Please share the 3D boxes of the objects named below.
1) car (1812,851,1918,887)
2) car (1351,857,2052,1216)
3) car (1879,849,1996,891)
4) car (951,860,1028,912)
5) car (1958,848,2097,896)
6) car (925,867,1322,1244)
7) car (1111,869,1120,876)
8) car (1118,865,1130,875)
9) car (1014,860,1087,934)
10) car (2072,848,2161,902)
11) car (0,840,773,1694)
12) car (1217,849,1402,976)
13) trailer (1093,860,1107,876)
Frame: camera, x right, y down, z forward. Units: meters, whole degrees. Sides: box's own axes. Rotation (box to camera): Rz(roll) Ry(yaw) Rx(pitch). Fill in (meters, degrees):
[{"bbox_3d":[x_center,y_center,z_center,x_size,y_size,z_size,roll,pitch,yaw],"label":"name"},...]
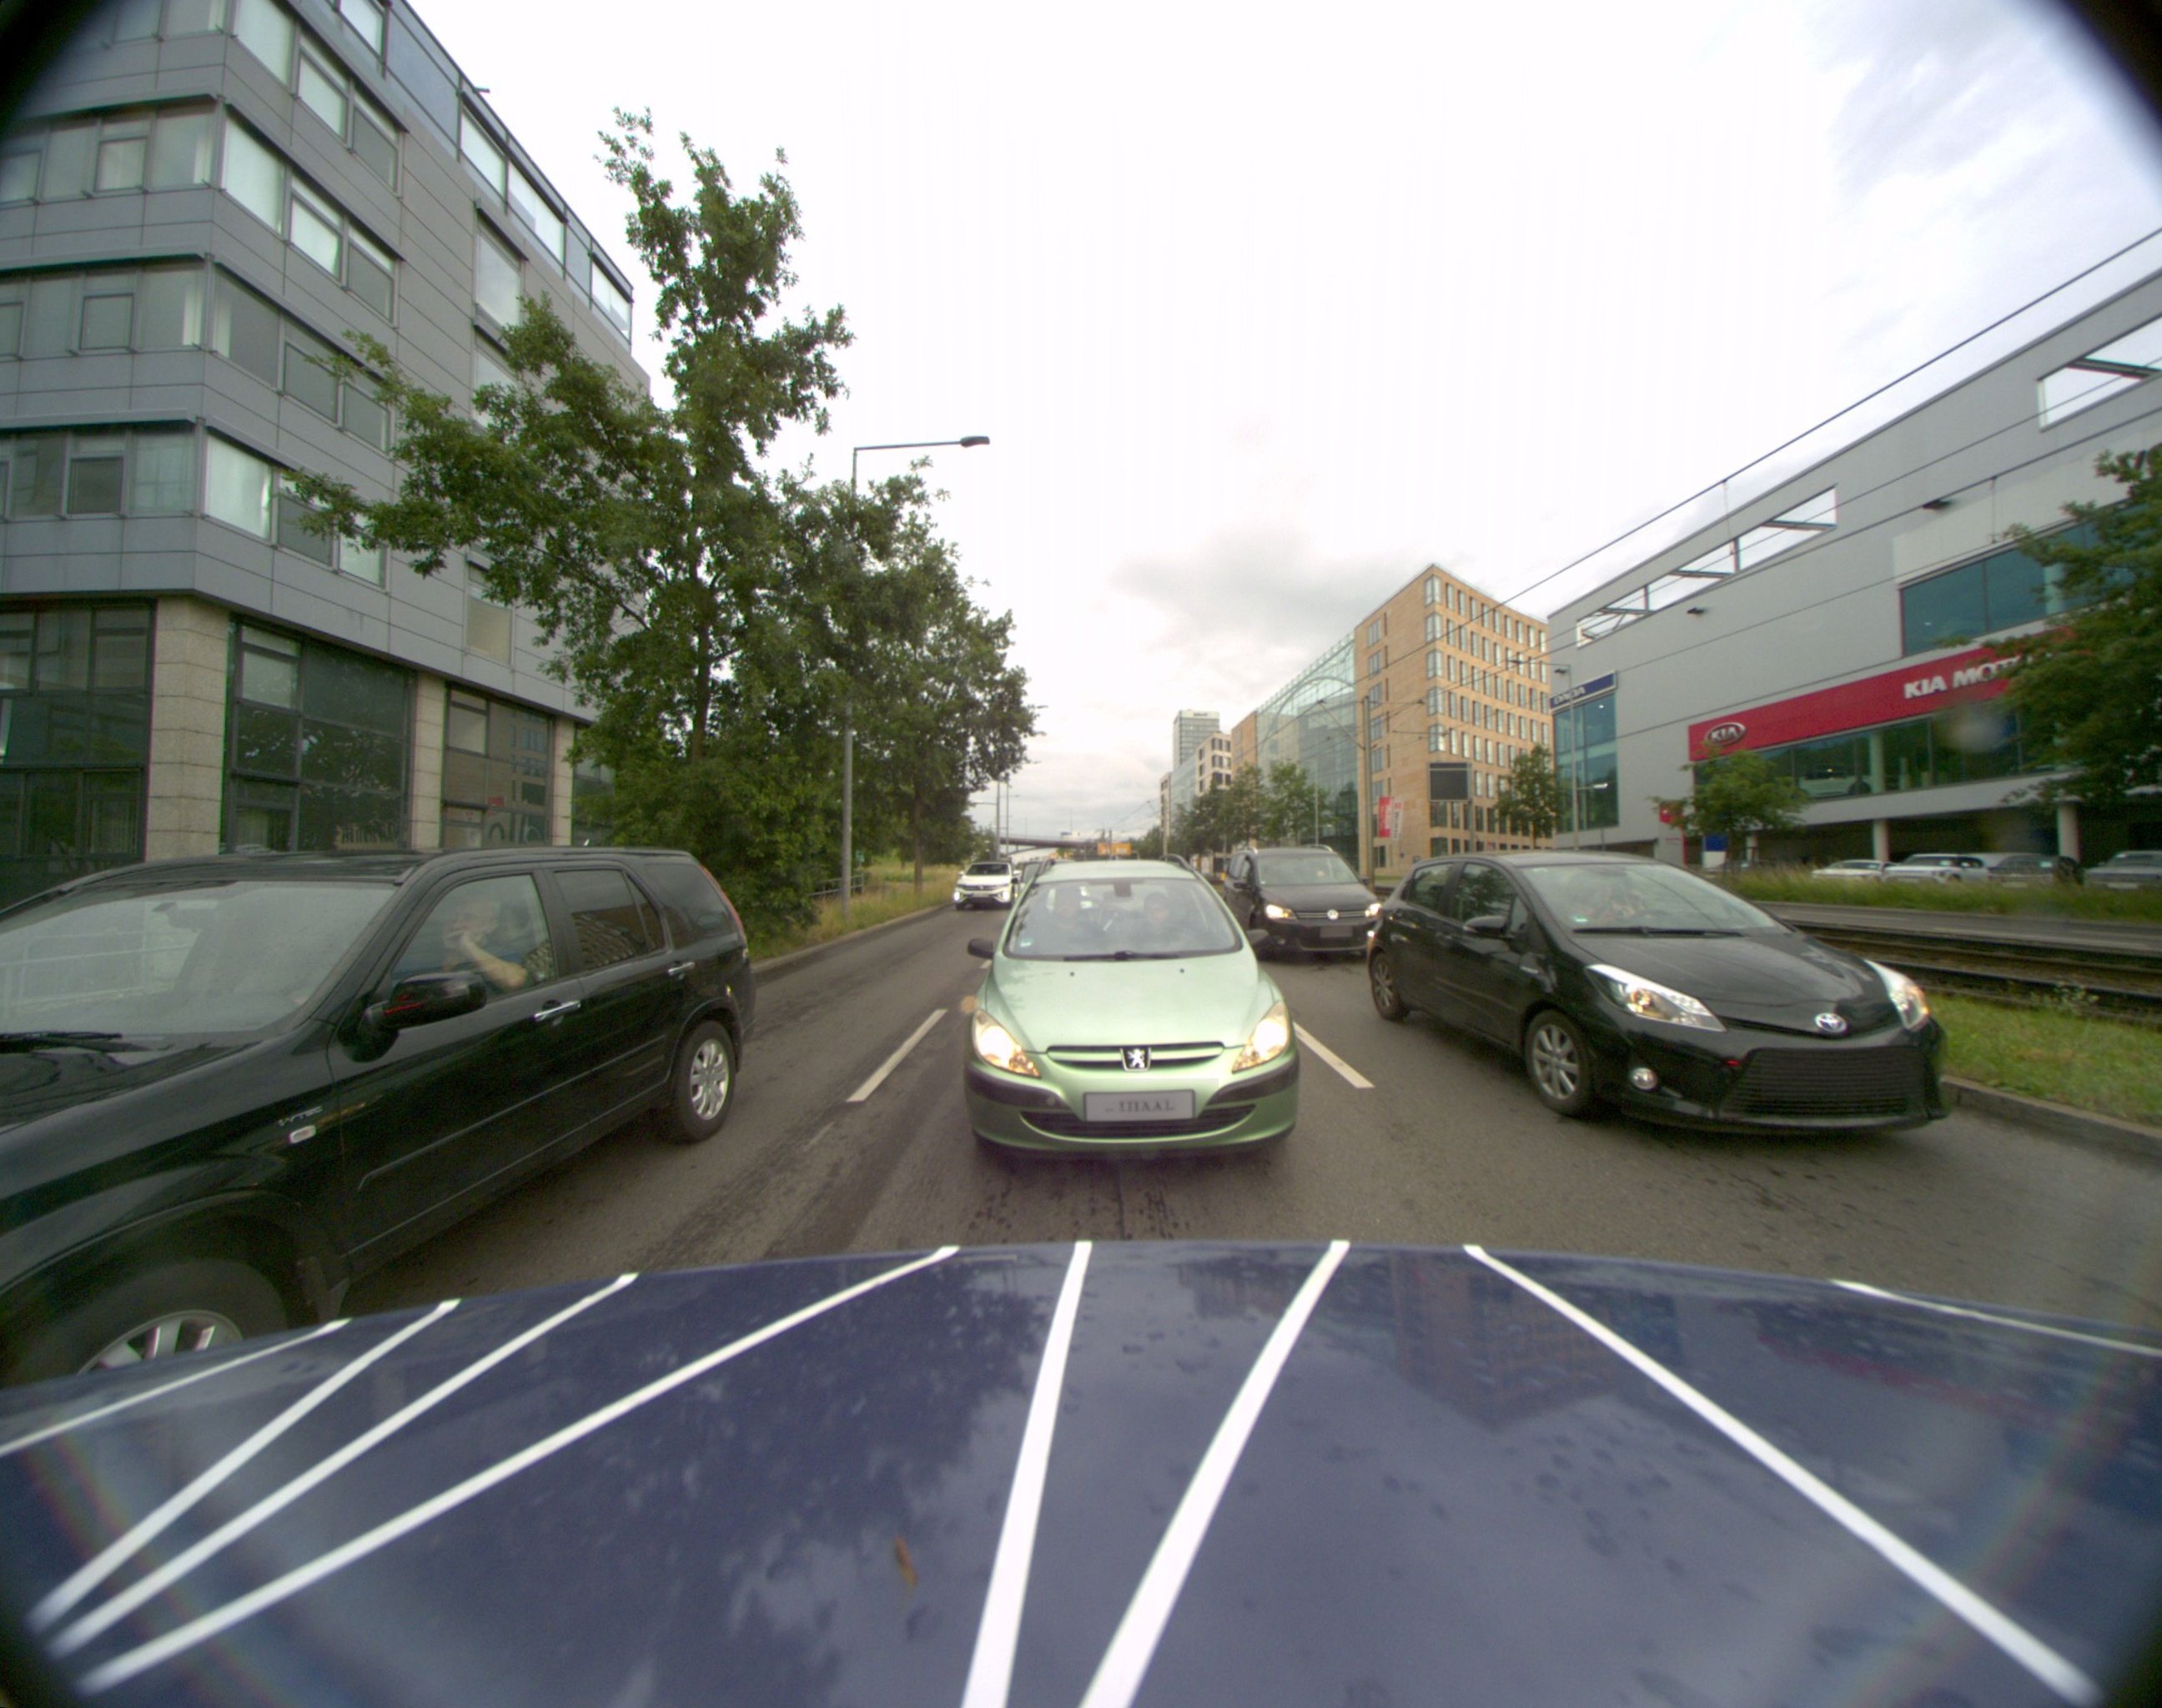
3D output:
[{"bbox_3d":[31.734,0.582,30.772,3.668,1.181,1.696,-4,1,-22],"label":"car"},{"bbox_3d":[3.425,0.812,5.263,1.704,1.523,3.826,-1,0,-1],"label":"car"},{"bbox_3d":[31.756,0.567,28.167,3.668,1.287,1.696,-4,1,-22],"label":"car"},{"bbox_3d":[-2.879,0.972,24.686,1.827,1.495,3.767,-1,0,3],"label":"car"},{"bbox_3d":[31.595,0.574,25.386,3.528,1.344,1.696,-4,1,-17],"label":"car"},{"bbox_3d":[0.171,0.916,5.501,1.704,1.523,4.370,-1,0,-1],"label":"car"},{"bbox_3d":[8.194,4.370,182.259,1.589,1.504,4.100,1,0,-5],"label":"car"},{"bbox_3d":[8.393,3.126,148.678,1.999,1.709,4.839,1,0,-3],"label":"car"},{"bbox_3d":[-0.759,0.927,17.750,1.518,1.495,3.167,-1,0,-4],"label":"car"},{"bbox_3d":[32.014,0.595,22.864,3.528,1.344,1.696,-4,1,-20],"label":"car"},{"bbox_3d":[-2.960,0.810,2.853,1.759,1.649,4.338,-1,0,1],"label":"car"},{"bbox_3d":[3.304,0.748,11.870,1.786,1.597,4.318,-1,0,3],"label":"car"},{"bbox_3d":[5.475,3.974,221.751,3.143,4.304,13.277,2,0,-3],"label":"trailer"}]
